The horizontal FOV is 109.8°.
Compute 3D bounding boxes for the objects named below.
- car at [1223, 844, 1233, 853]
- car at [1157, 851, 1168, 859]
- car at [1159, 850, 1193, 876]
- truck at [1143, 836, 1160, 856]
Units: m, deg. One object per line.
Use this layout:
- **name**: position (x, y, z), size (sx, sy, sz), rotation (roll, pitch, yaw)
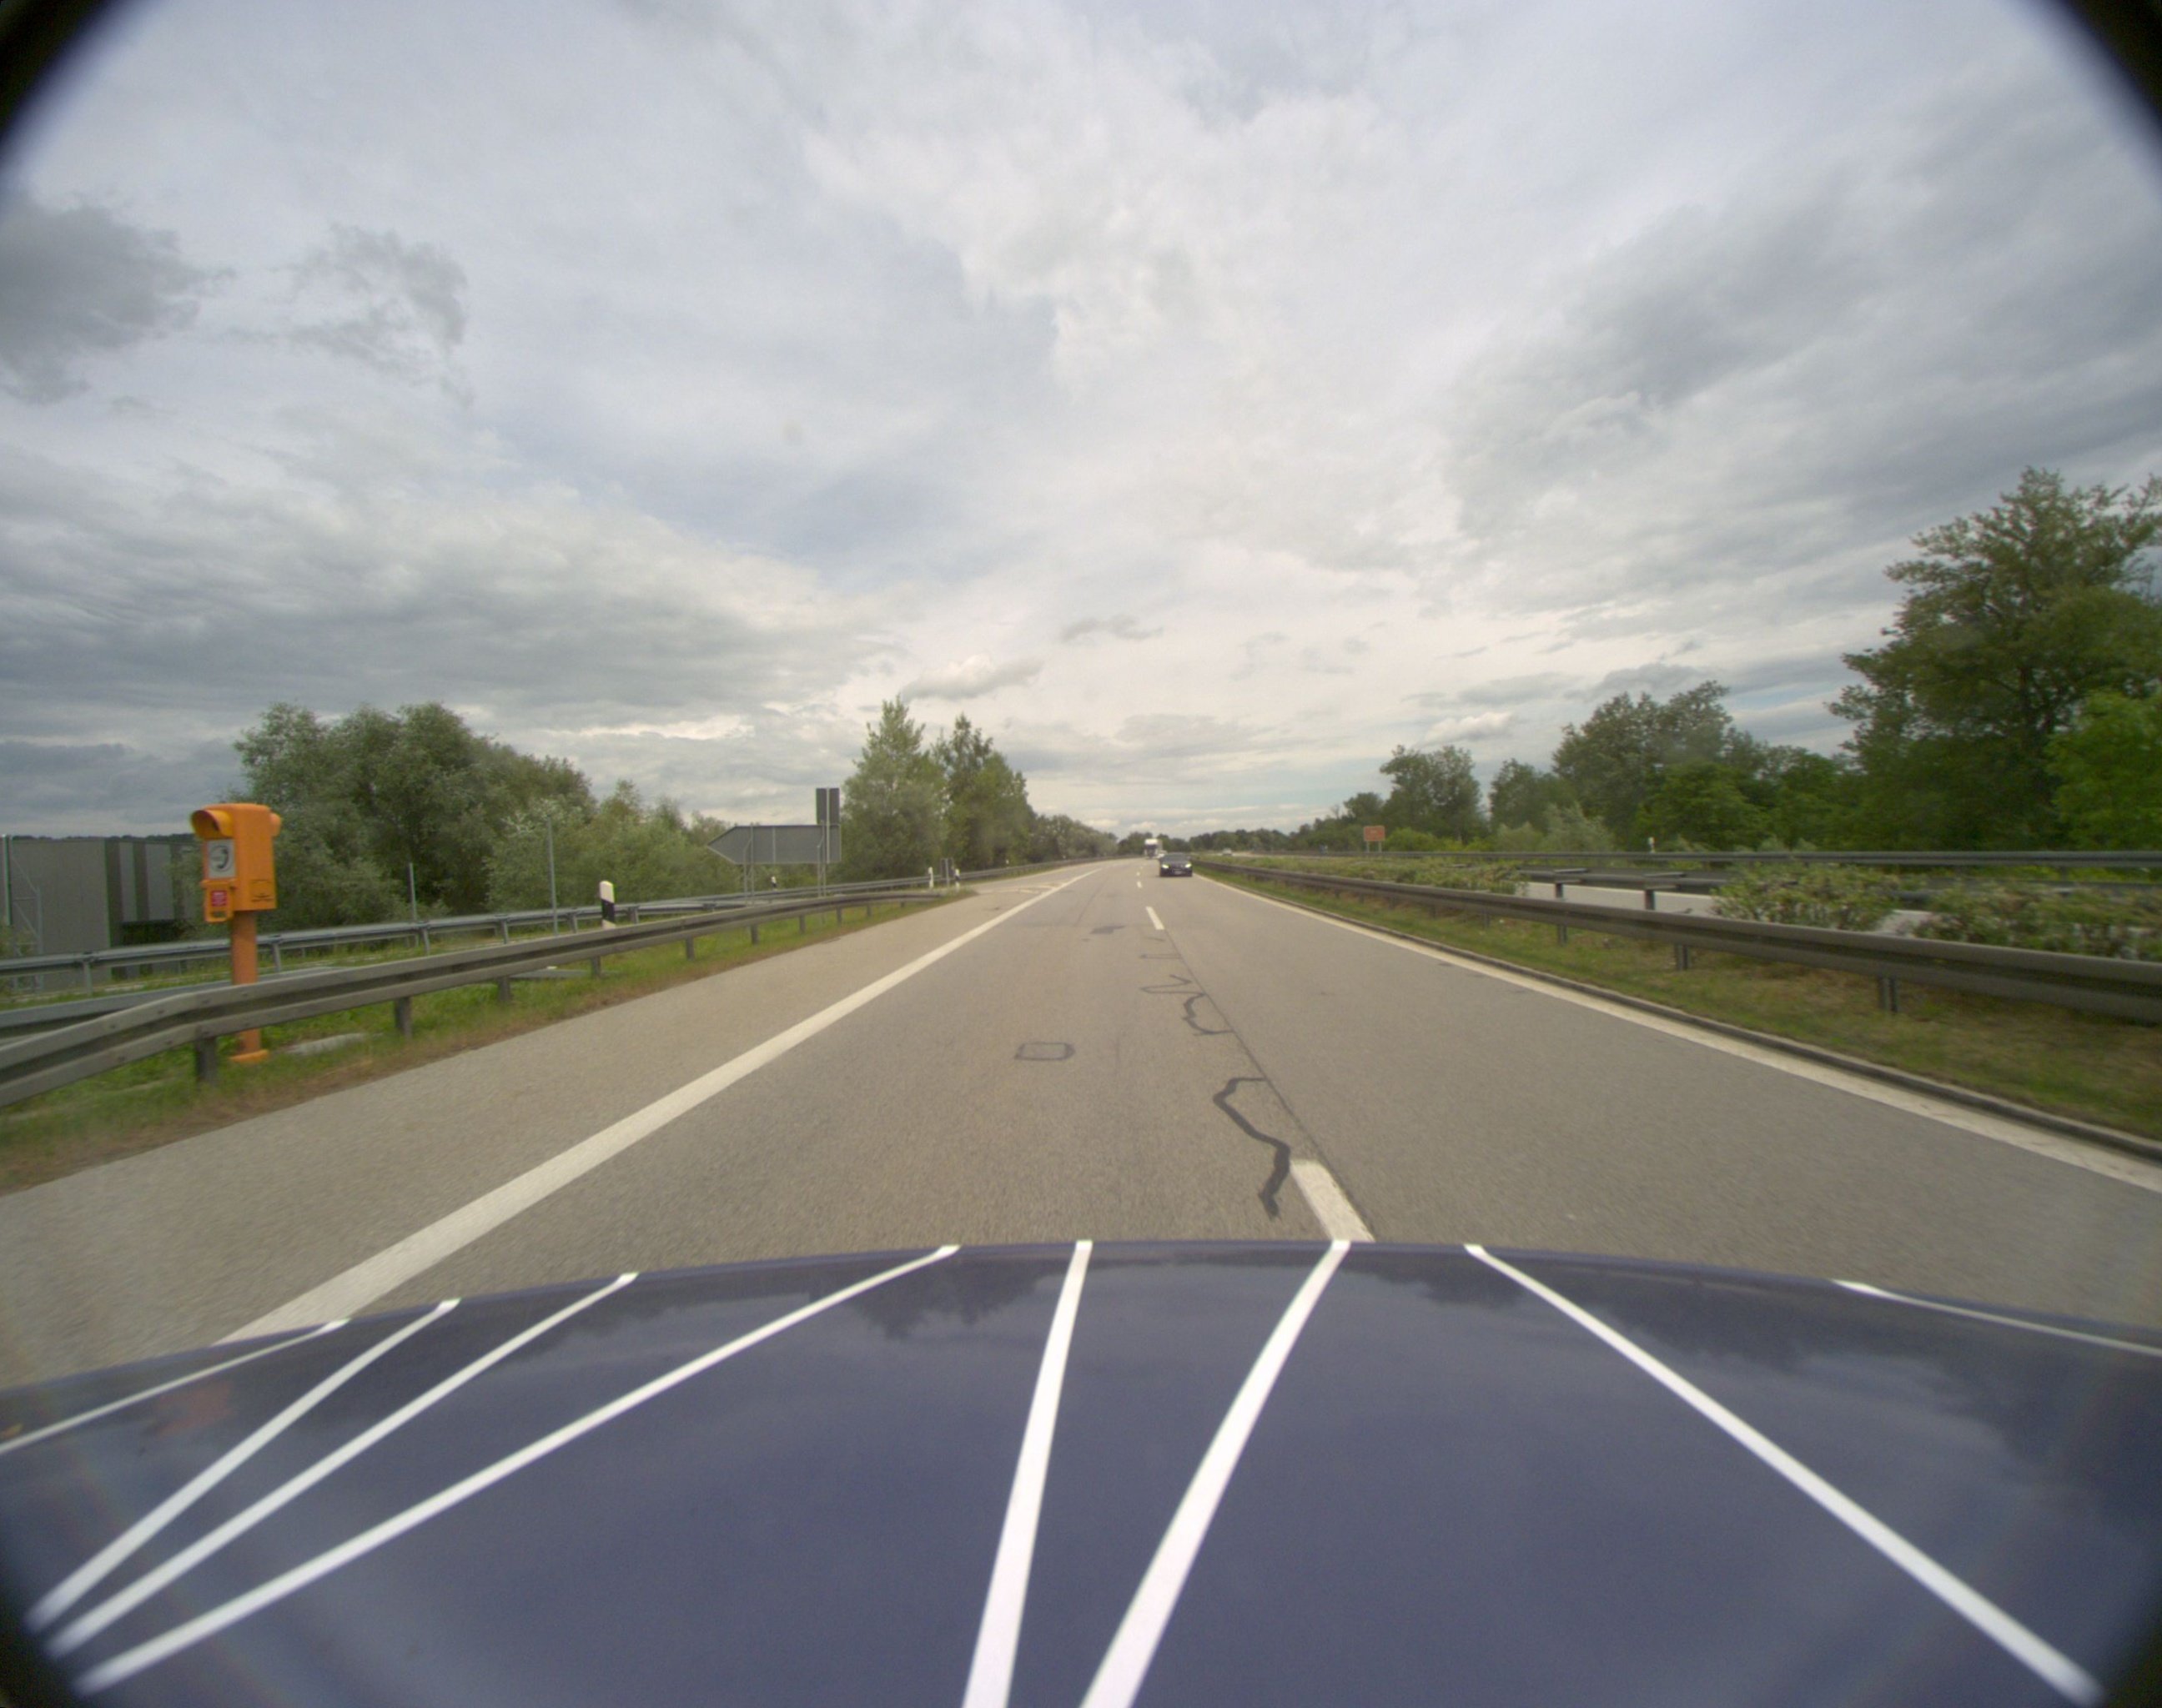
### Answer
- **car**: position (29.005, -1.054, 150.152), size (1.646, 1.705, 4.983), rotation (-2, 0, 8)
- **car**: position (14.531, 0.173, 135.216), size (1.774, 1.474, 4.659), rotation (-1, -1, 7)
- **car**: position (5.718, 0.536, 46.248), size (1.774, 1.474, 4.699), rotation (0, -1, 4)
- **truck**: position (14.267, -1.529, 153.508), size (3.068, 3.869, 6.004), rotation (-1, 0, 9)
